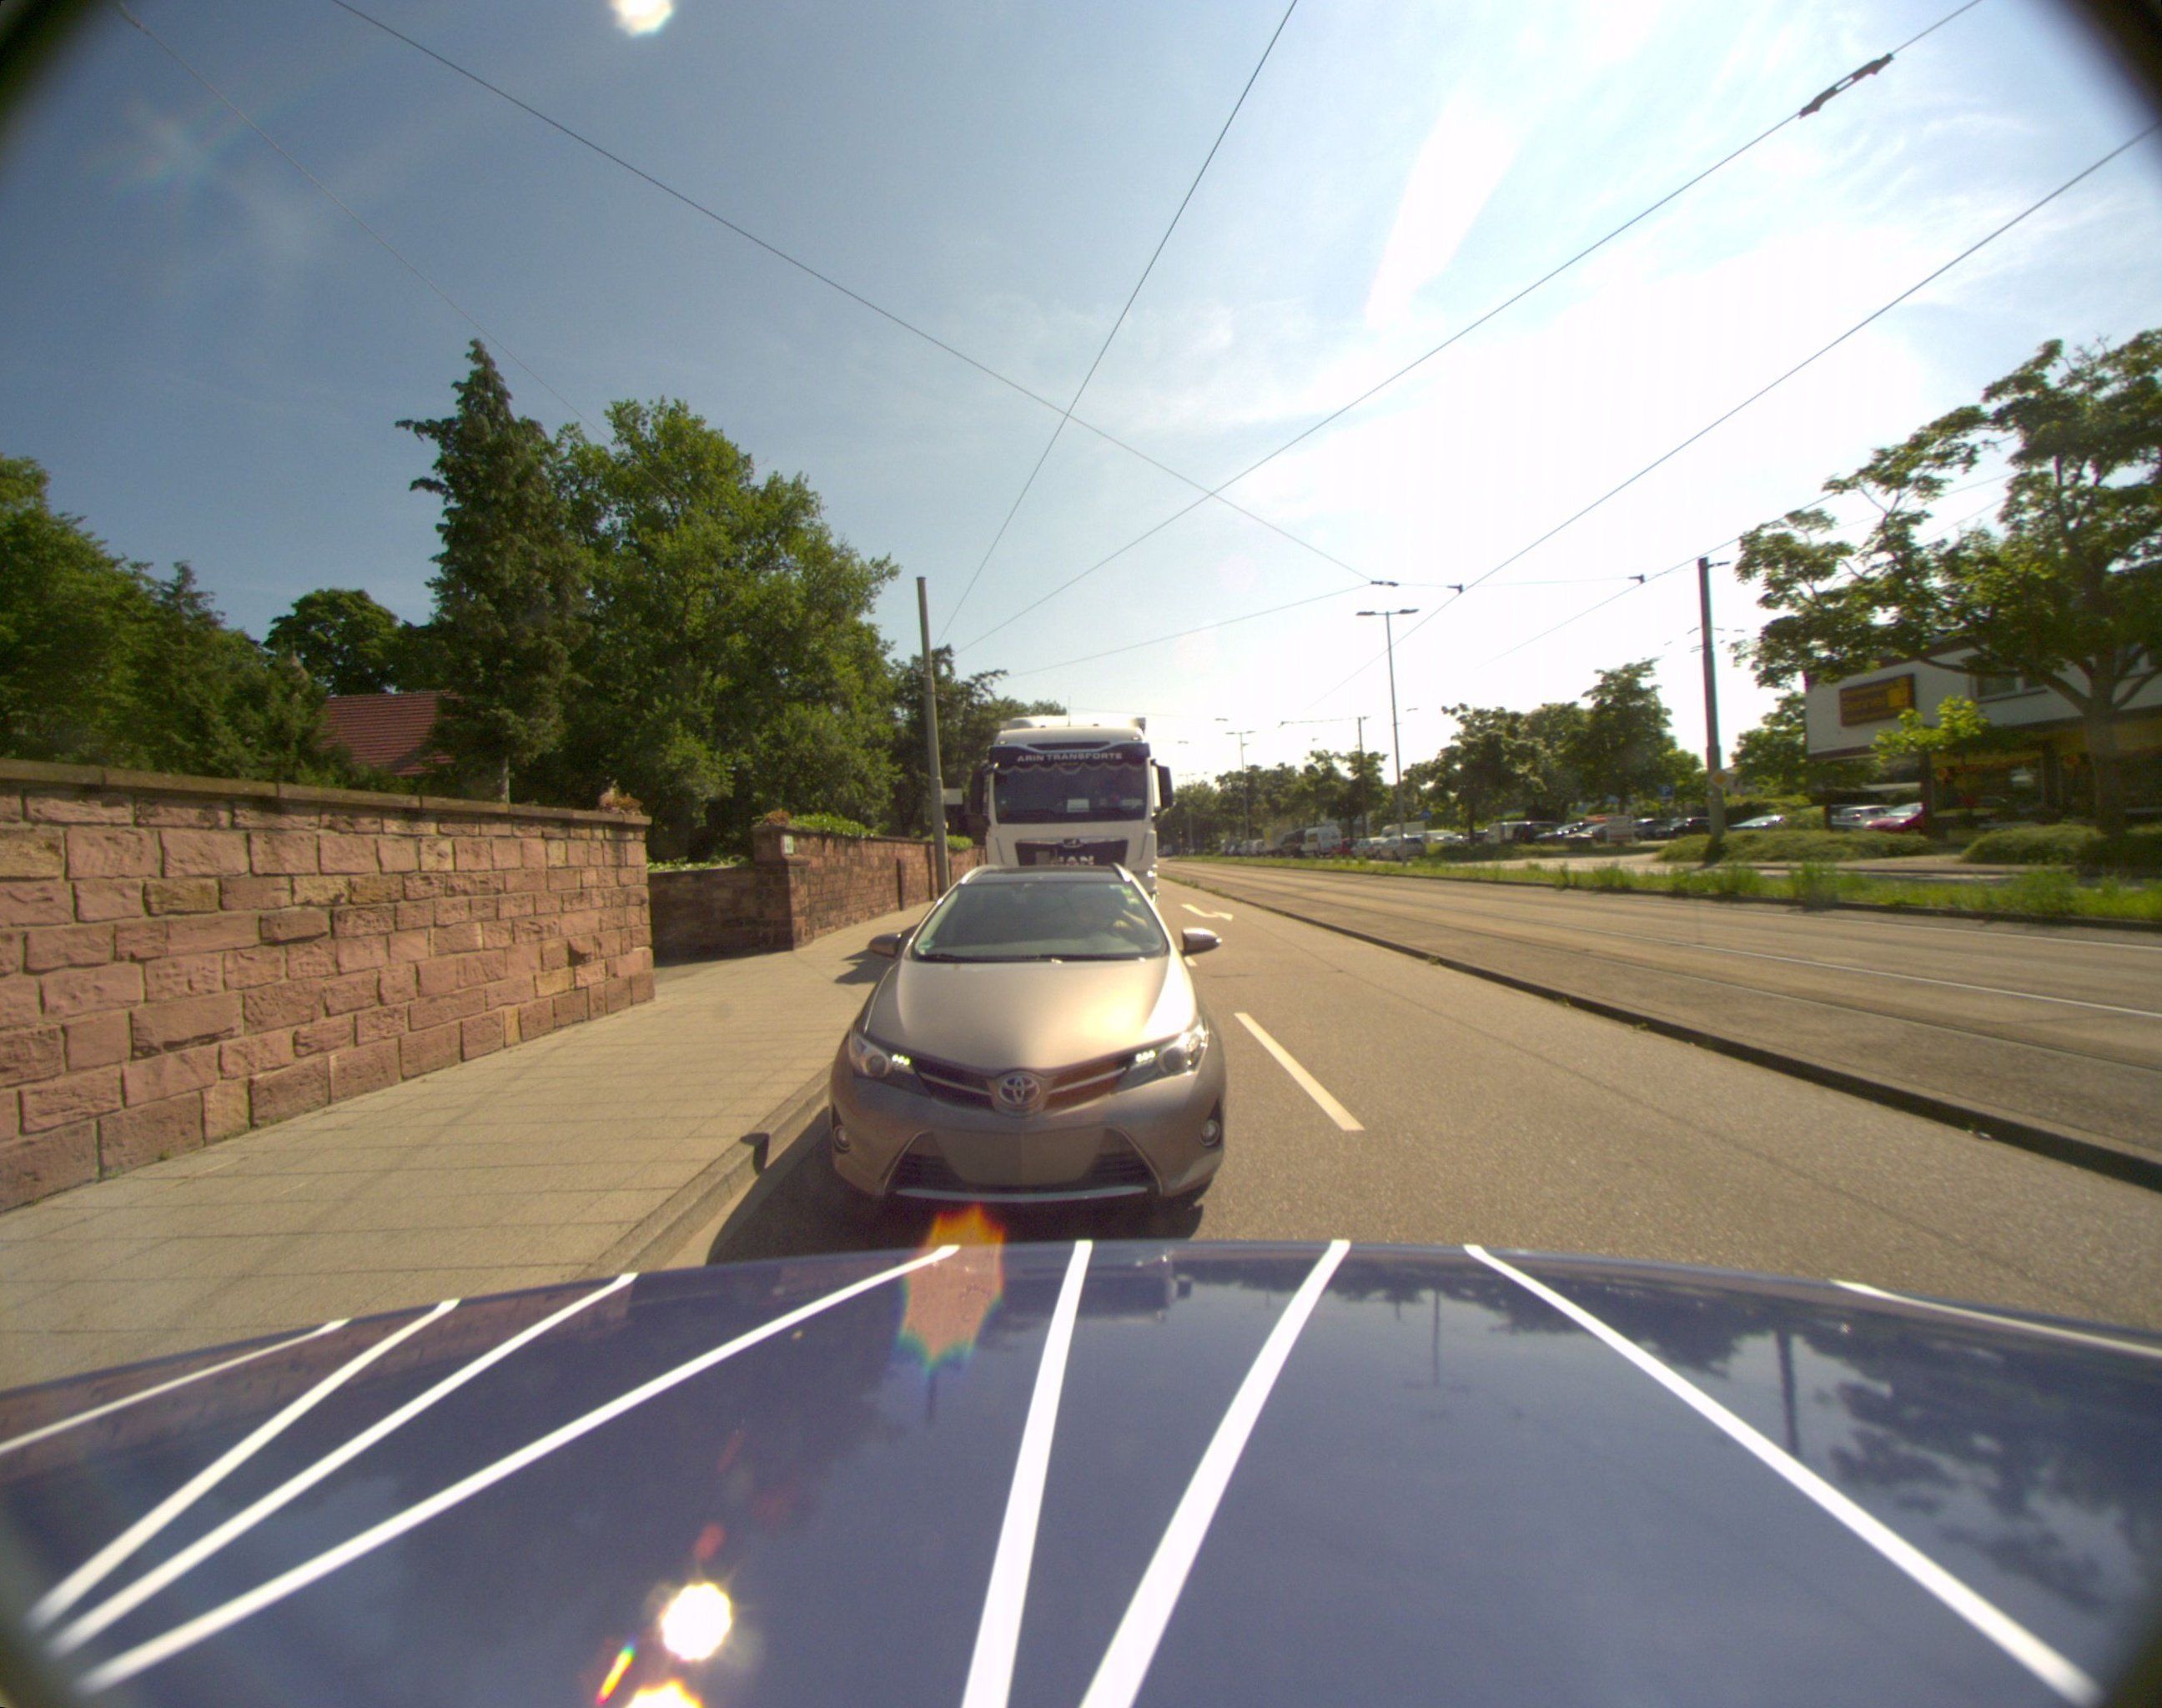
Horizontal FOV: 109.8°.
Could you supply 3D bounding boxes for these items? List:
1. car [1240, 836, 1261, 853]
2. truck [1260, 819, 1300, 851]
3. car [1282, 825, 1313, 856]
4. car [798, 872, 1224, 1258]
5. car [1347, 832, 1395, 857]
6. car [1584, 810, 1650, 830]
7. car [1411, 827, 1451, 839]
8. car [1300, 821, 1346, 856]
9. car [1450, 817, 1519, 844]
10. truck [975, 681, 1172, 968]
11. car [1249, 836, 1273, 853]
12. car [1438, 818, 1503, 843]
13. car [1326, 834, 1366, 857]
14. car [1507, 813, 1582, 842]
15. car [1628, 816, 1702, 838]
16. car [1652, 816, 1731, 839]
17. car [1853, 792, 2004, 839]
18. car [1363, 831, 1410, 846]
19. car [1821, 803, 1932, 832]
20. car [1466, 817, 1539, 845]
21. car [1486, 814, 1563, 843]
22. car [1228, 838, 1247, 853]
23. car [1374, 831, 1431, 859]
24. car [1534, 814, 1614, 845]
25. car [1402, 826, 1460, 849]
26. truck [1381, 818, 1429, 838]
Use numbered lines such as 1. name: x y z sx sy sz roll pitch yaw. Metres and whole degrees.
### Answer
1. car: 20.965 -1.164 94.218 1.502 1.835 4.059 -6 0 0
2. truck: 20.603 -1.898 78.897 2.508 2.917 5.903 -6 0 2
3. car: 20.003 -1.221 70.271 1.502 2.609 4.007 -6 0 1
4. car: -0.258 0.896 5.032 1.654 1.374 4.000 -2 0 1
5. car: 20.447 -0.625 53.657 1.675 1.524 4.256 -6 0 1
6. car: 44.086 -2.818 62.516 4.254 1.327 1.676 -3 0 -1
7. car: 43.735 -2.623 95.038 4.253 1.327 1.676 -3 0 1
8. car: 20.281 -1.252 63.988 2.062 2.638 5.203 -6 0 1
9. car: 30.589 -1.759 57.645 4.117 1.728 1.990 -3 1 -2
10. truck: -0.009 -0.459 15.203 2.628 3.906 9.285 -2 1 1
11. car: 20.686 -1.052 87.360 1.502 1.793 4.633 -6 0 1
12. car: 31.232 -1.866 60.976 4.117 1.728 1.990 -3 1 -2
13. car: 20.477 -0.667 58.754 1.675 1.524 3.793 -6 0 1
14. car: 30.582 -1.715 50.200 3.810 1.625 1.676 -3 1 2
15. car: 44.179 -2.027 57.549 4.252 1.327 1.676 -3 0 2
16. car: 44.002 -1.877 54.800 4.252 1.327 1.676 -3 0 2
17. car: 35.264 -1.581 31.681 4.252 1.595 1.676 -3 1 2
18. car: 32.317 -1.592 80.396 4.253 1.327 1.676 -3 0 1
19. car: 44.103 -2.004 42.186 4.252 1.327 1.676 -3 0 2
20. car: 30.535 -1.682 55.138 4.117 1.728 1.990 -3 1 -2
21. car: 30.695 -1.770 52.667 4.117 1.728 1.990 -3 1 -2
22. car: 20.623 -1.087 100.071 1.502 1.775 3.687 -6 0 0
23. car: 20.303 -0.539 48.177 1.675 1.524 4.256 -6 0 1
24. car: 30.521 -1.493 47.116 3.810 1.625 1.676 -3 1 2
25. car: 31.170 -1.400 67.879 2.594 1.800 5.741 -3 0 2
26. truck: 44.779 -3.606 105.060 5.652 2.367 1.990 -3 1 -2
